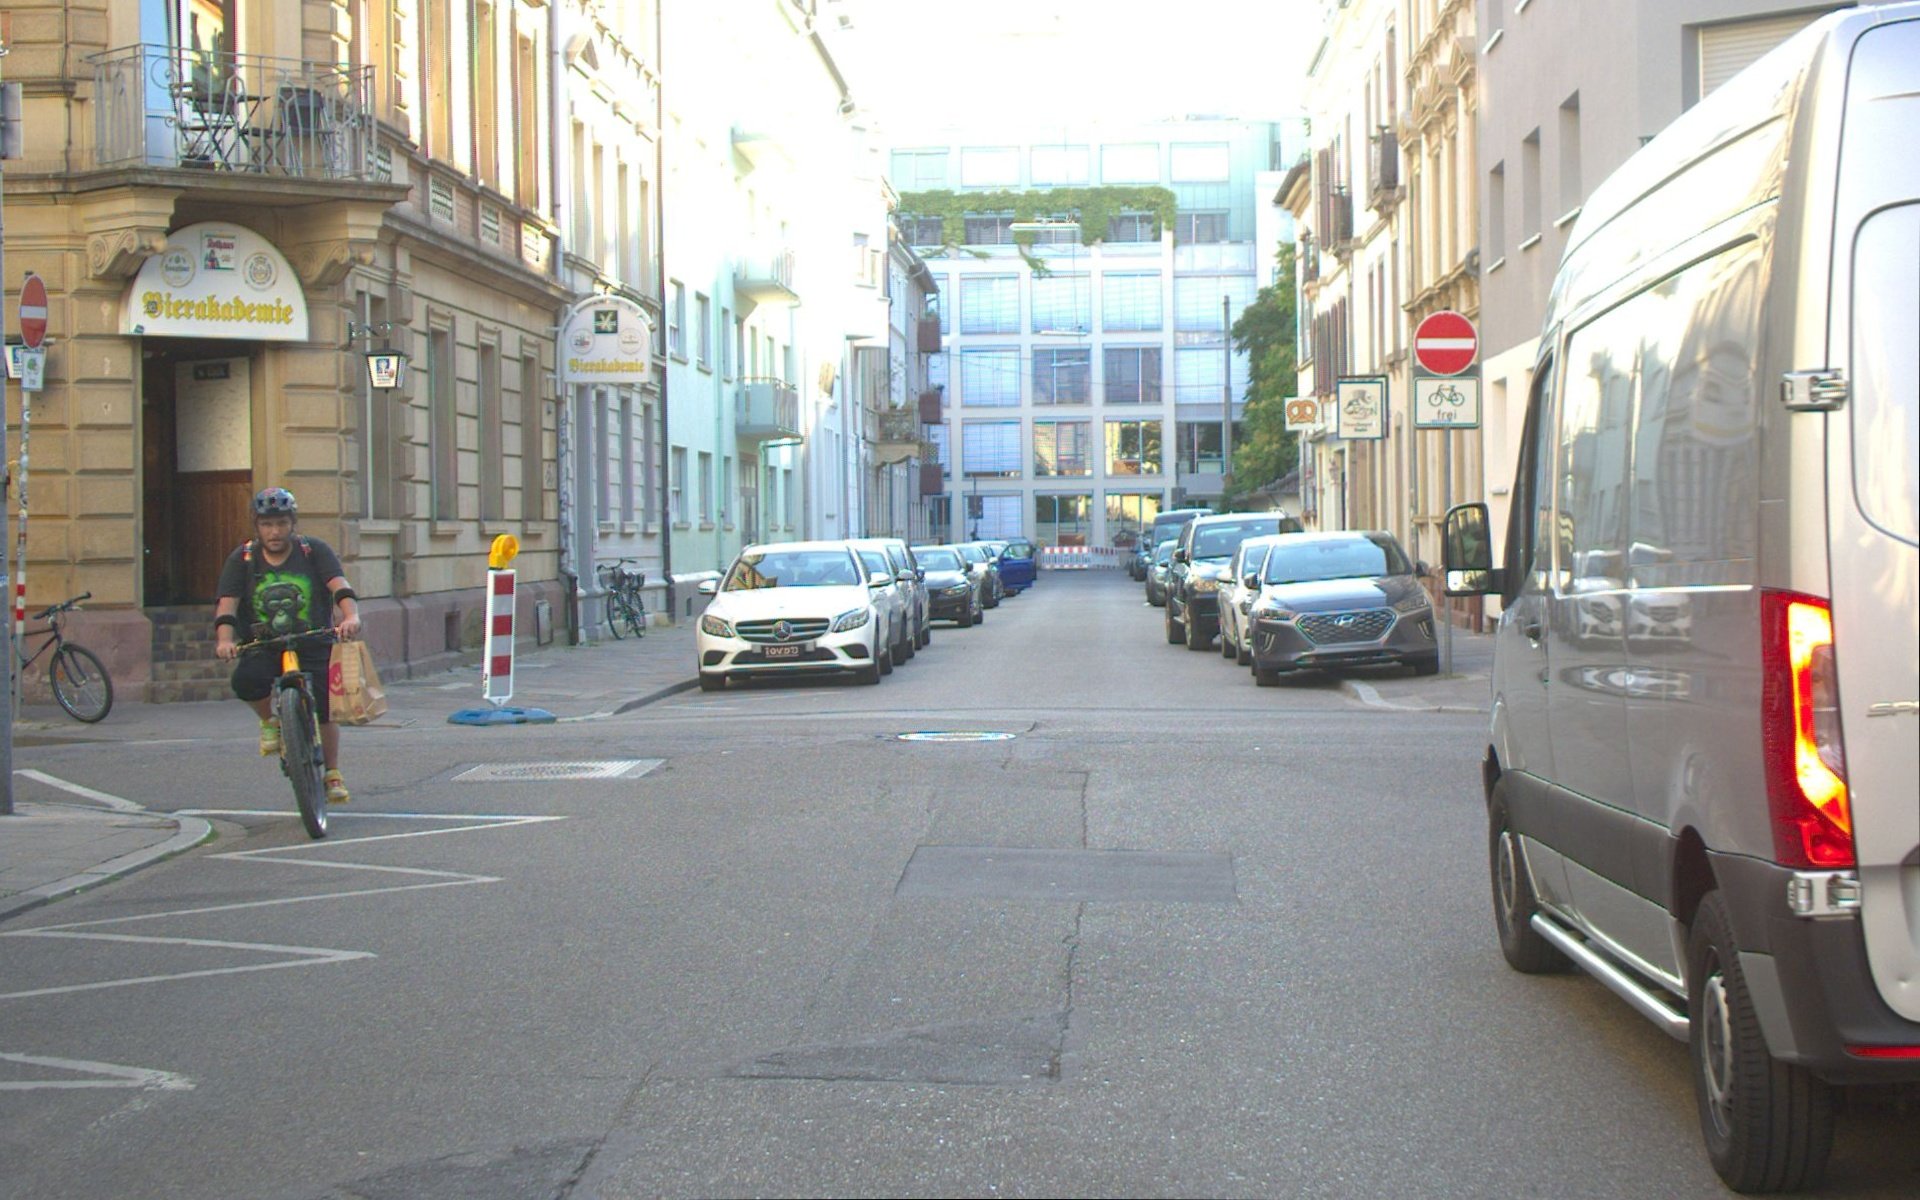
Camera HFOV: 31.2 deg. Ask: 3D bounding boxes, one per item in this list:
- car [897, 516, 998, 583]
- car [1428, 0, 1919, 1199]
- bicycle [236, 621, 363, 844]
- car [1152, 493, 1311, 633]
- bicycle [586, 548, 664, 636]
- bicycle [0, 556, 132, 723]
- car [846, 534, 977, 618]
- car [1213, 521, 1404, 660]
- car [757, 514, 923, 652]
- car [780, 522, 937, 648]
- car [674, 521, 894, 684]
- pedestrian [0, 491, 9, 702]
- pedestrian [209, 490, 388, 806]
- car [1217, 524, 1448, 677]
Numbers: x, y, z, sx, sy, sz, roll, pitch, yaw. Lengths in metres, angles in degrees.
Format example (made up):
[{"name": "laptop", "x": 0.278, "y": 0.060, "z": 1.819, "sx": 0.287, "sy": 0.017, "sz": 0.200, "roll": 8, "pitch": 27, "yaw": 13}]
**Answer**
[{"name": "car", "x": -0.269, "y": -1.139, "z": 76.420, "sx": 2.173, "sy": 1.413, "sz": 4.000, "roll": 0, "pitch": 1, "yaw": 0}, {"name": "car", "x": 2.730, "y": -0.063, "z": 9.887, "sx": 2.277, "sy": 2.431, "sz": 6.203, "roll": 0, "pitch": 1, "yaw": 4}, {"name": "bicycle", "x": -3.357, "y": 0.636, "z": 17.398, "sx": 0.538, "sy": 1.004, "sz": 1.982, "roll": -1, "pitch": 1, "yaw": -13}, {"name": "car", "x": 3.580, "y": -0.517, "z": 45.923, "sx": 1.893, "sy": 1.778, "sz": 4.000, "roll": 0, "pitch": 1, "yaw": 1}, {"name": "bicycle", "x": -4.594, "y": -0.131, "z": 47.316, "sx": 0.737, "sy": 1.156, "sz": 2.461, "roll": 0, "pitch": 1, "yaw": 2}, {"name": "bicycle", "x": -7.596, "y": 0.311, "z": 27.514, "sx": 1.757, "sy": 1.270, "sz": 0.661, "roll": 0, "pitch": 4, "yaw": -1}, {"name": "car", "x": -0.780, "y": -0.437, "z": 58.373, "sx": 1.993, "sy": 1.350, "sz": 4.429, "roll": 0, "pitch": 1, "yaw": 2}, {"name": "car", "x": 4.046, "y": -0.153, "z": 40.483, "sx": 1.963, "sy": 1.552, "sz": 3.889, "roll": 0, "pitch": 1, "yaw": 2}, {"name": "car", "x": -1.405, "y": -0.237, "z": 41.415, "sx": 1.625, "sy": 1.571, "sz": 3.754, "roll": 0, "pitch": 1, "yaw": 4}, {"name": "car", "x": -1.350, "y": -0.241, "z": 47.160, "sx": 1.785, "sy": 1.653, "sz": 3.816, "roll": 0, "pitch": 1, "yaw": 4}, {"name": "car", "x": -1.752, "y": -0.024, "z": 35.689, "sx": 1.993, "sy": 1.559, "sz": 4.506, "roll": -1, "pitch": 1, "yaw": 1}, {"name": "pedestrian", "x": -8.382, "y": -0.026, "z": 28.101, "sx": 1.013, "sy": 1.736, "sz": 0.985, "roll": 0, "pitch": 1, "yaw": -6}, {"name": "pedestrian", "x": -3.362, "y": 0.220, "z": 17.407, "sx": 0.829, "sy": 1.540, "sz": 1.083, "roll": -1, "pitch": 1, "yaw": -13}, {"name": "car", "x": 3.665, "y": -0.035, "z": 34.423, "sx": 1.938, "sy": 1.367, "sz": 3.789, "roll": -2, "pitch": 1, "yaw": 1}]
